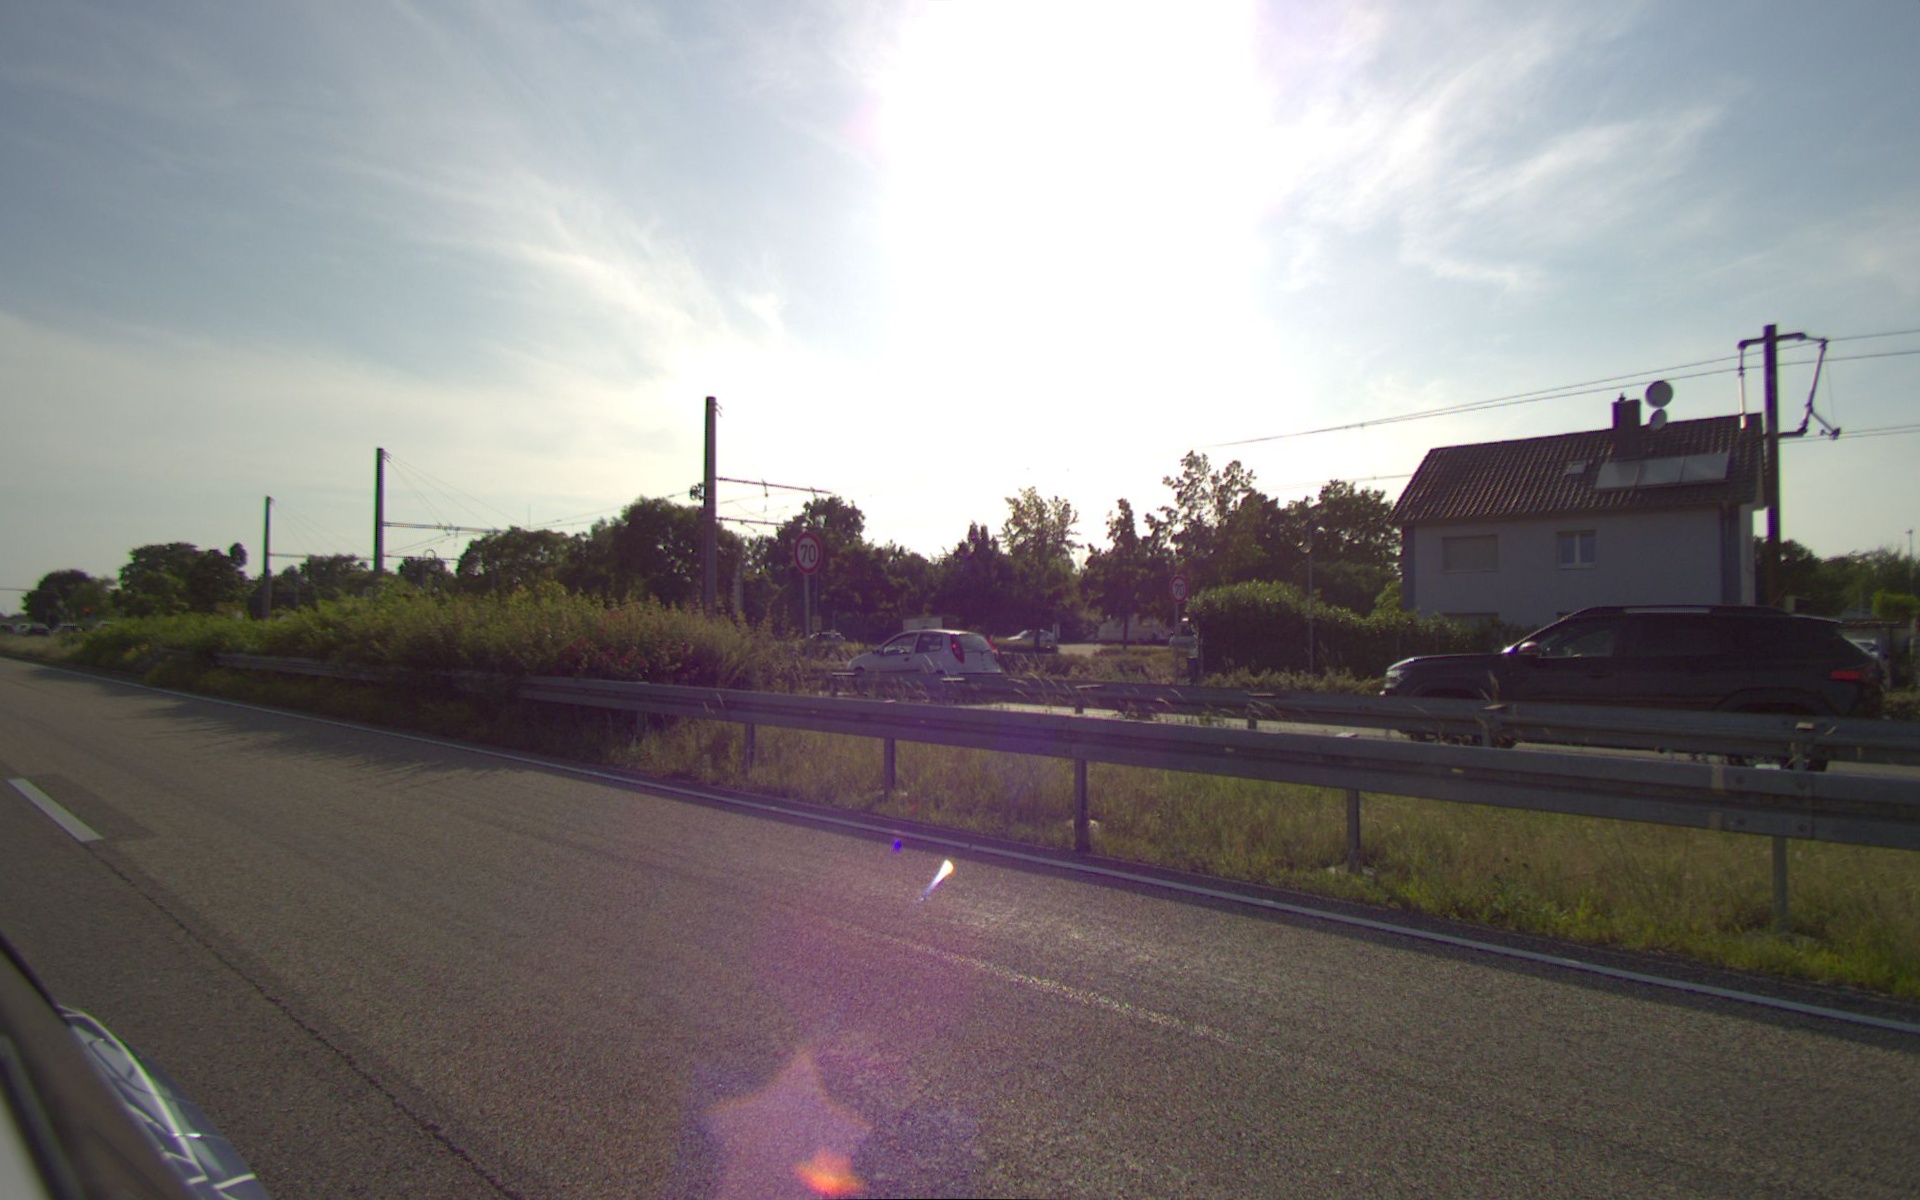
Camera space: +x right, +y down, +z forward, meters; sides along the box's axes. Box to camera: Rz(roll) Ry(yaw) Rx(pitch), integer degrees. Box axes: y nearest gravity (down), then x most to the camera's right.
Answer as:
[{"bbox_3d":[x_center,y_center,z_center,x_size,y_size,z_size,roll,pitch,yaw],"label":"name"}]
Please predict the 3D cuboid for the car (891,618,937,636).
[{"bbox_3d":[-3.872,2.305,85.255,3.562,1.377,1.739,2,-3,-12],"label":"car"}]

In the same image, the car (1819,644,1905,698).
[{"bbox_3d":[27.118,2.082,30.383,1.784,1.409,3.943,-2,-2,43],"label":"car"}]

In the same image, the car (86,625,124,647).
[{"bbox_3d":[-68.953,2.904,81.568,4.226,1.700,1.643,-1,-4,41],"label":"car"}]

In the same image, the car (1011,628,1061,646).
[{"bbox_3d":[5.928,2.880,79.245,3.620,1.377,1.711,-1,-4,41],"label":"car"}]

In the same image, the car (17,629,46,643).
[{"bbox_3d":[-96.603,3.750,105.289,4.973,1.426,1.643,-1,-4,41],"label":"car"}]

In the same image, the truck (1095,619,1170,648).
[{"bbox_3d":[14.520,2.801,85.329,5.890,2.265,2.004,-1,0,-10],"label":"truck"}]

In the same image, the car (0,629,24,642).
[{"bbox_3d":[-108.097,4.034,115.273,4.466,1.391,1.643,-1,-4,41],"label":"car"}]

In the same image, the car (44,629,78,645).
[{"bbox_3d":[-82.275,3.403,92.598,4.539,1.391,1.643,-1,-4,41],"label":"car"}]

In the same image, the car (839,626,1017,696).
[{"bbox_3d":[-0.730,1.279,21.802,3.620,1.377,1.711,-1,-4,41],"label":"car"}]

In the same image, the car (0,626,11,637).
[{"bbox_3d":[-121.237,3.952,127.718,3.998,1.391,1.643,-1,-4,41],"label":"car"}]

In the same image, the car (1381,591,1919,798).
[{"bbox_3d":[6.681,0.842,10.058,4.317,1.646,1.711,-1,-4,41],"label":"car"}]
